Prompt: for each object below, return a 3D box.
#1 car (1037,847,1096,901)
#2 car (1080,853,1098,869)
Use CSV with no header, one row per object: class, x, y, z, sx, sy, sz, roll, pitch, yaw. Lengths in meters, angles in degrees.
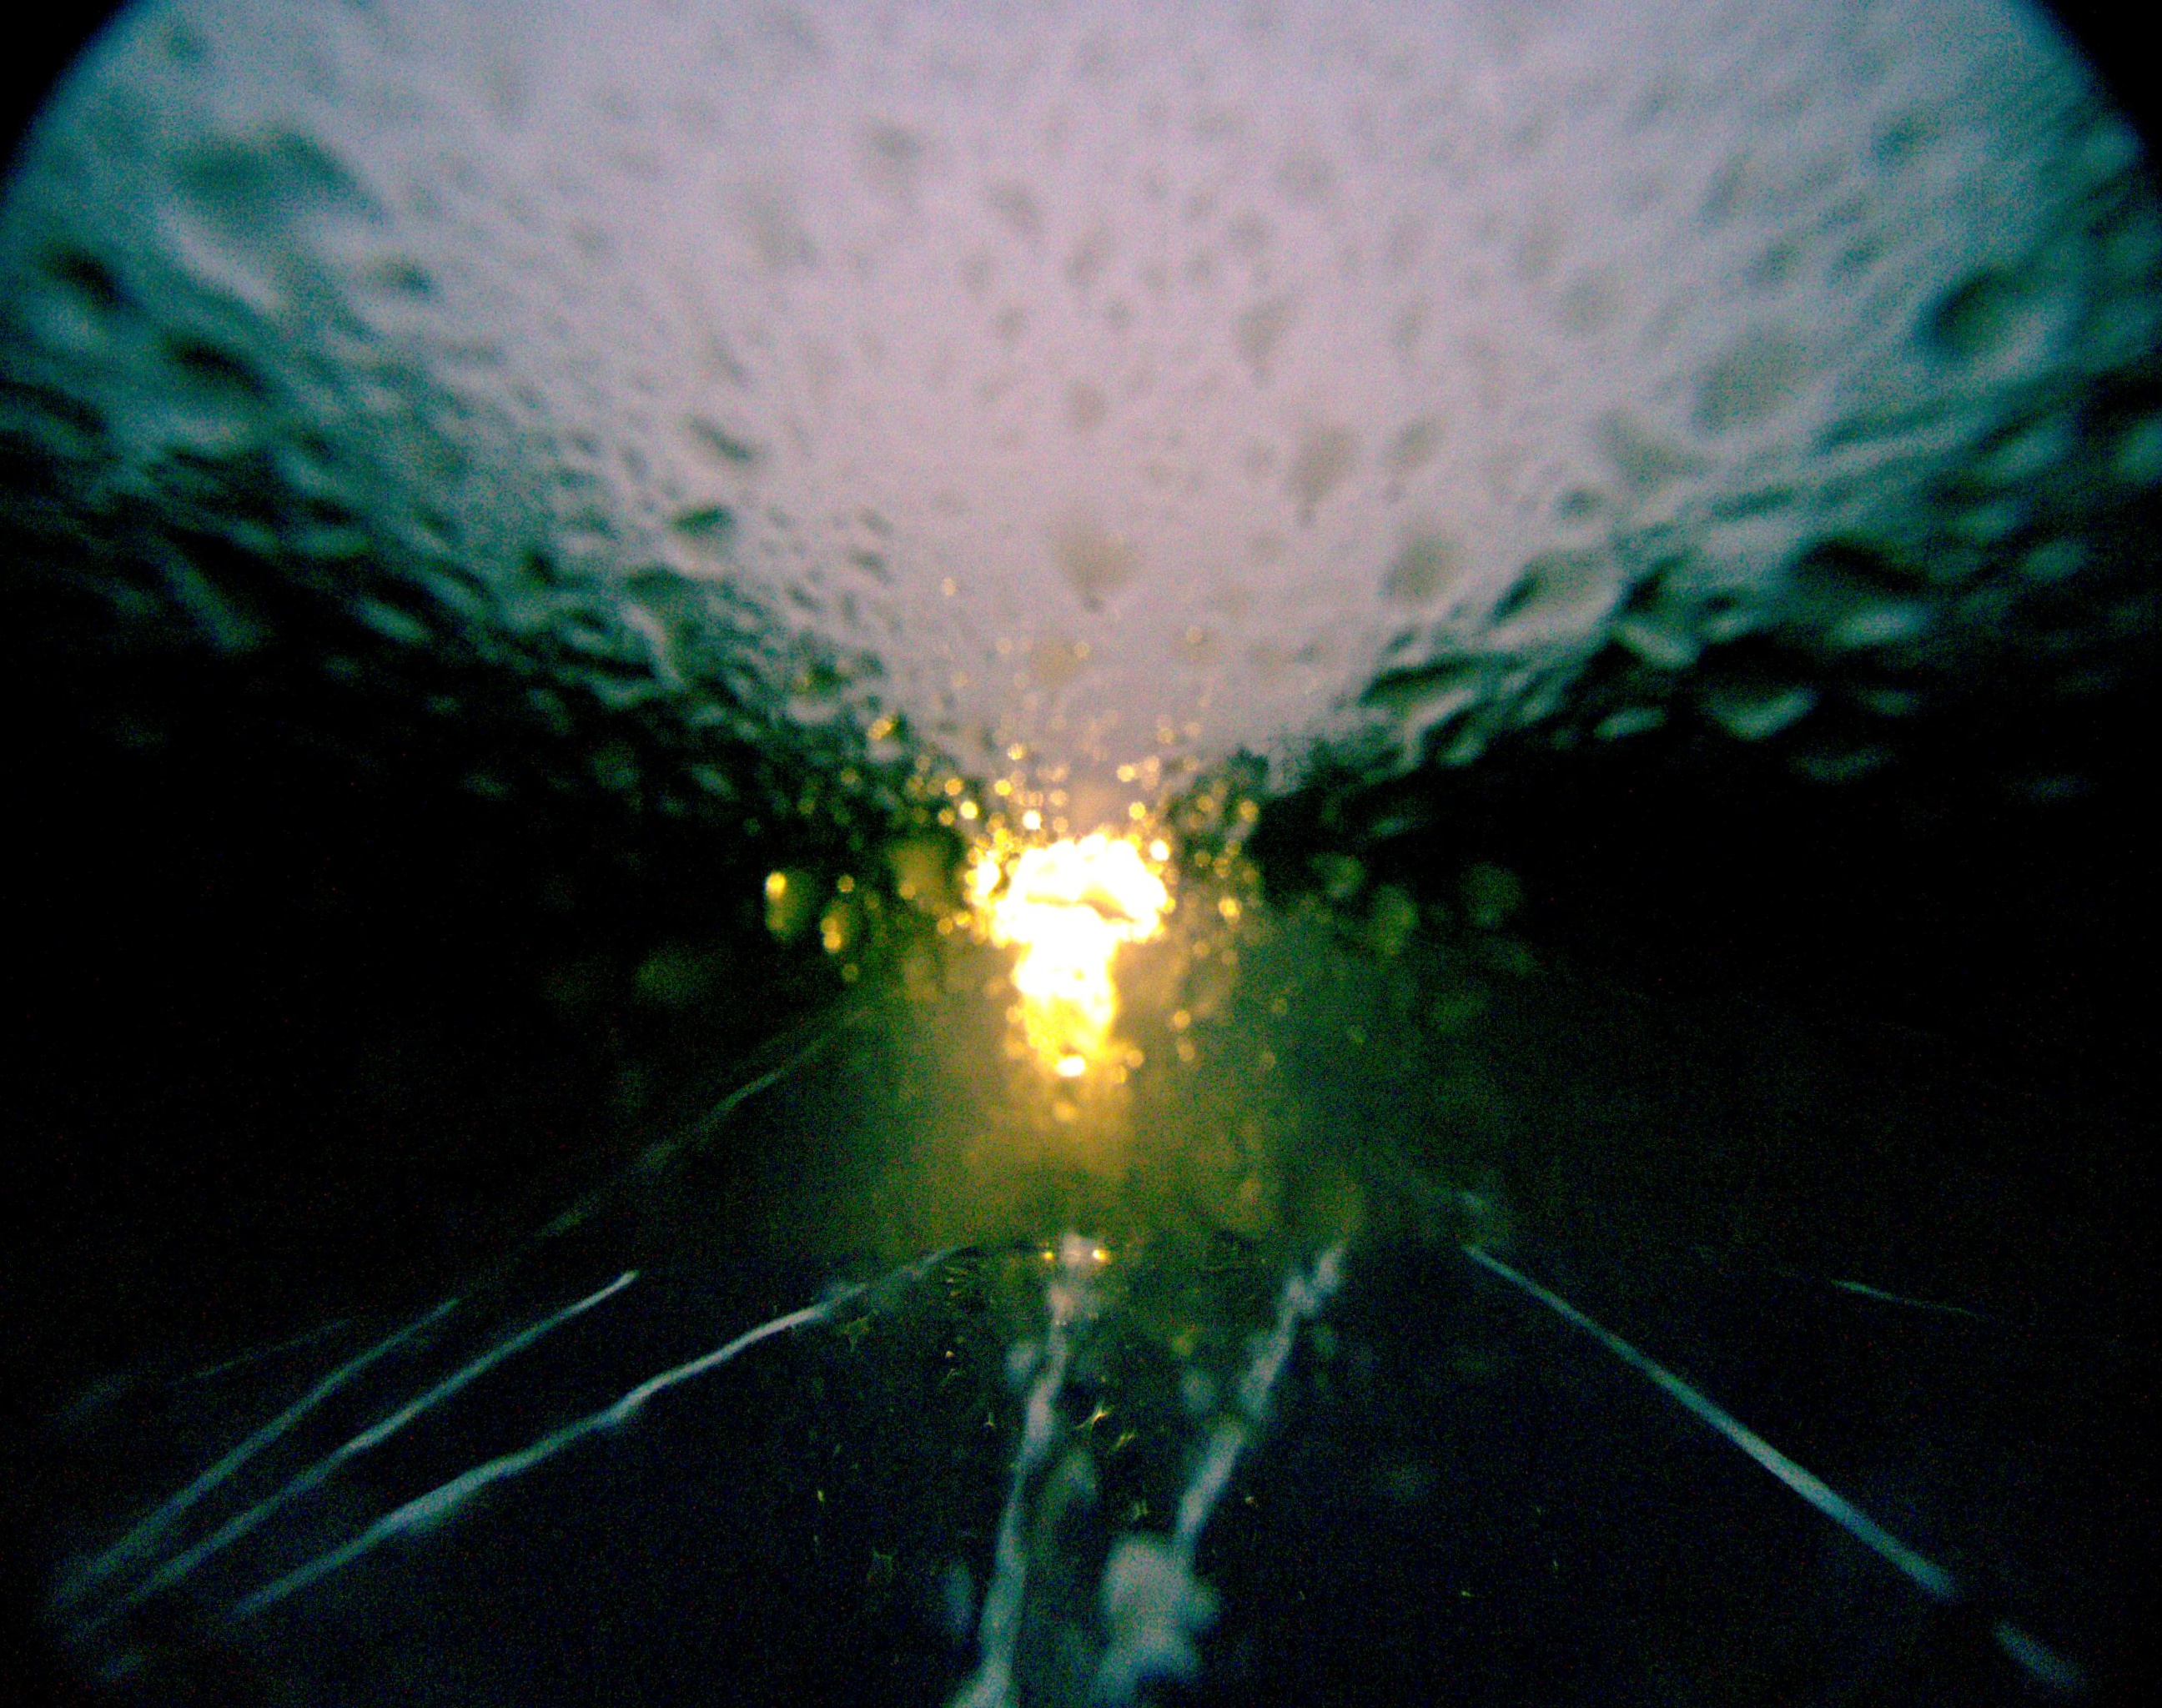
car,-0.427,0.616,26.379,1.572,1.701,4.001,-1,1,5
car,0.959,0.796,90.950,1.998,1.752,4.371,-1,1,1
